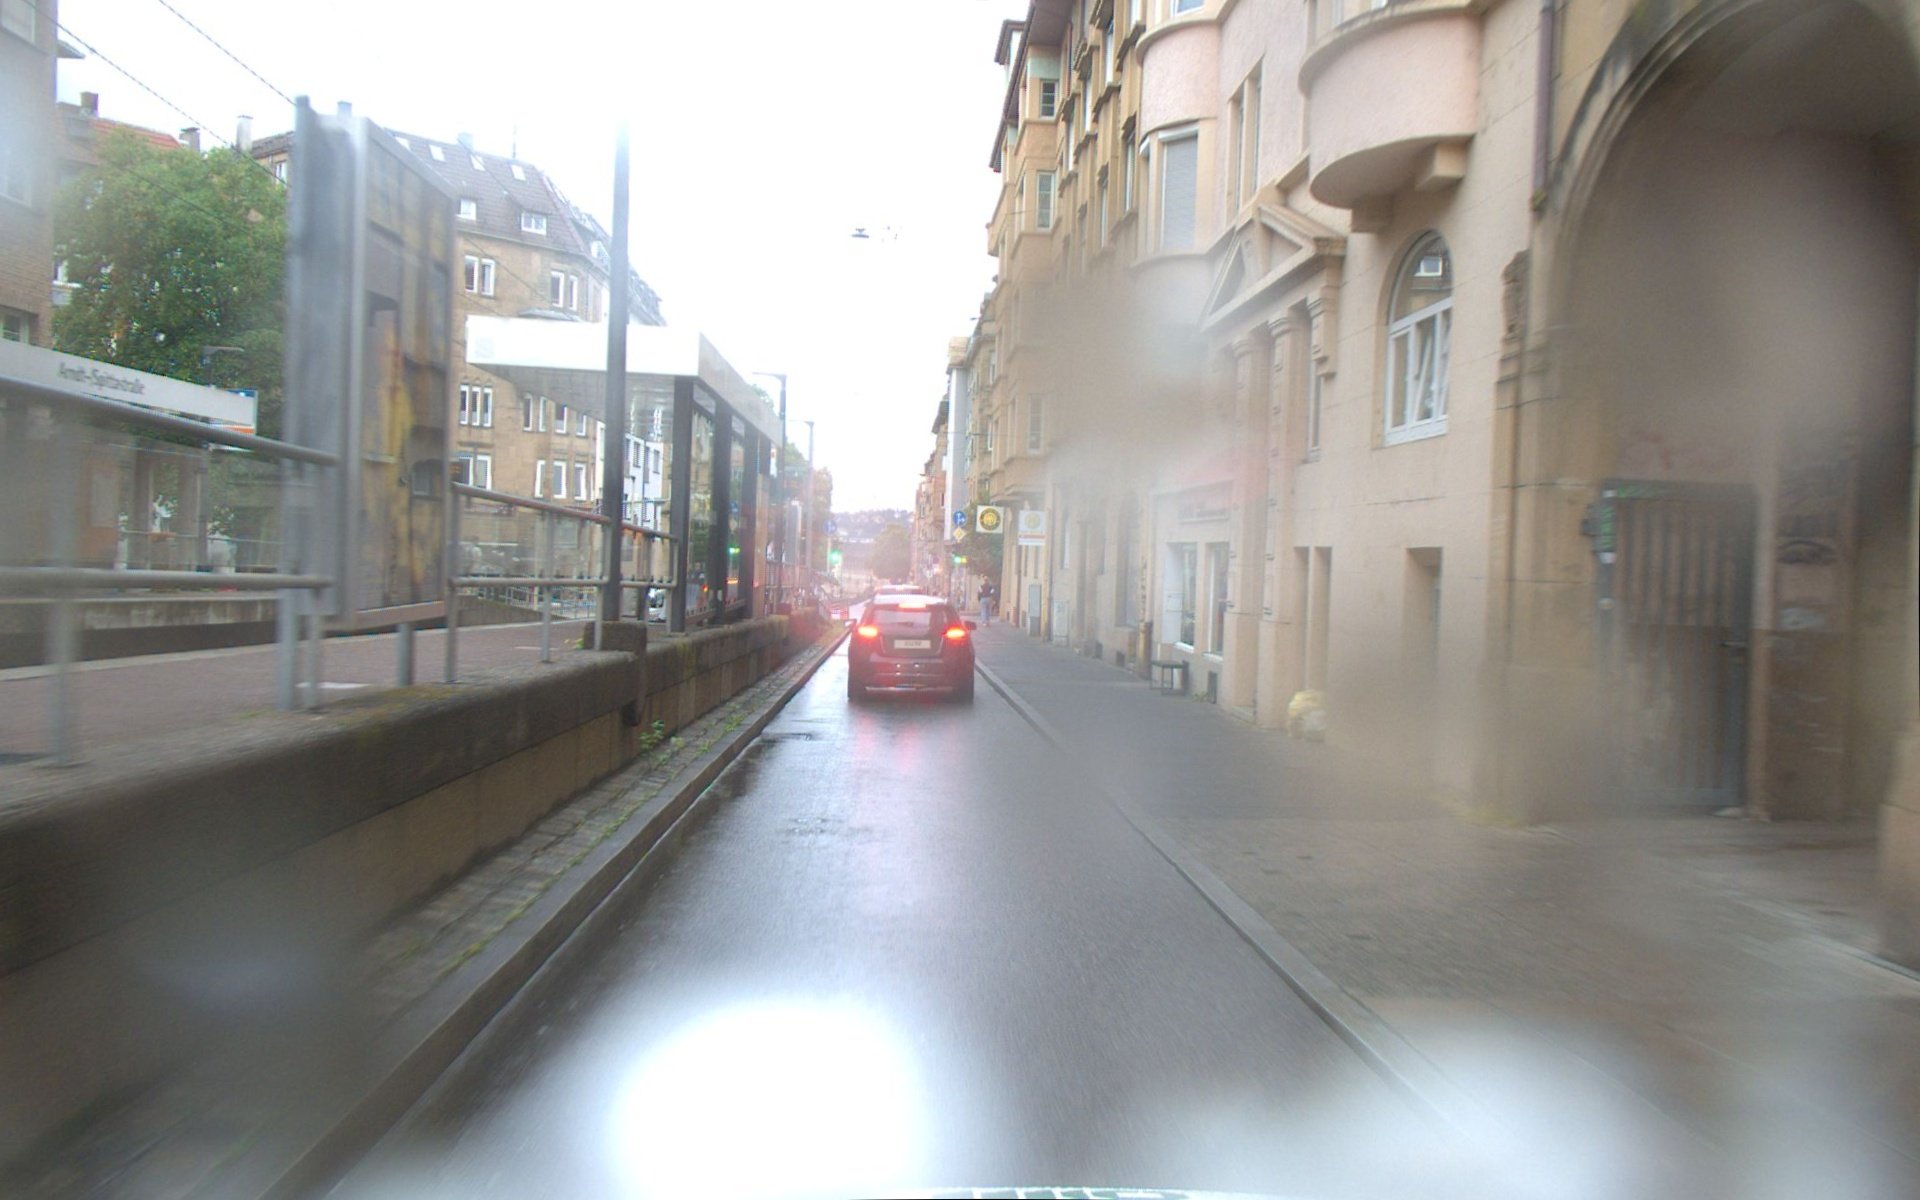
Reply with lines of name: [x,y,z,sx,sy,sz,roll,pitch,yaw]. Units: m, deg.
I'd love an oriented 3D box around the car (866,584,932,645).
car: [-1.567,0.348,43.640,1.616,1.477,4.000,1,1,-1]

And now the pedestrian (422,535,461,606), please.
pedestrian: [-12.463,-0.703,39.759,0.729,1.676,0.640,0,0,-2]

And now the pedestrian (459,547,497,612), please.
pedestrian: [-12.246,-0.516,42.028,0.679,1.610,0.956,1,0,-2]

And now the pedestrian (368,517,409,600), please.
pedestrian: [-12.161,-0.875,35.189,0.651,1.728,0.688,-1,0,-6]

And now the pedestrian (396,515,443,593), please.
pedestrian: [-12.317,-1.037,37.698,0.729,1.726,0.882,2,-1,-2]

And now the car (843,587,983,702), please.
car: [-0.642,0.571,23.956,1.828,1.477,4.000,1,1,-1]

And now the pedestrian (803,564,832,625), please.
pedestrian: [-4.847,-0.188,56.264,0.879,2.049,0.947,1,0,-2]

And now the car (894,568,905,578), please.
car: [-9.479,-4.215,258.962,1.581,1.340,3.998,2,0,-2]

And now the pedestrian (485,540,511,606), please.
pedestrian: [-13.029,-0.757,46.681,0.500,1.850,0.799,1,0,-2]

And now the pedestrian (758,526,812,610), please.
pedestrian: [-3.866,-0.713,36.635,1.091,1.805,1.111,1,0,-2]

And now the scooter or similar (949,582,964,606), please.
scooter or similar: [-0.169,-0.309,87.508,0.625,1.231,1.550,0,0,-7]

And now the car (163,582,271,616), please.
car: [-32.471,-0.046,72.319,1.709,1.427,3.980,0,1,39]

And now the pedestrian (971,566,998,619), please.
pedestrian: [0.884,-0.269,59.314,0.881,1.872,0.969,-3,0,2]

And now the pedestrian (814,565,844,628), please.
pedestrian: [-4.379,-0.122,55.165,0.907,2.049,0.947,1,0,-2]
